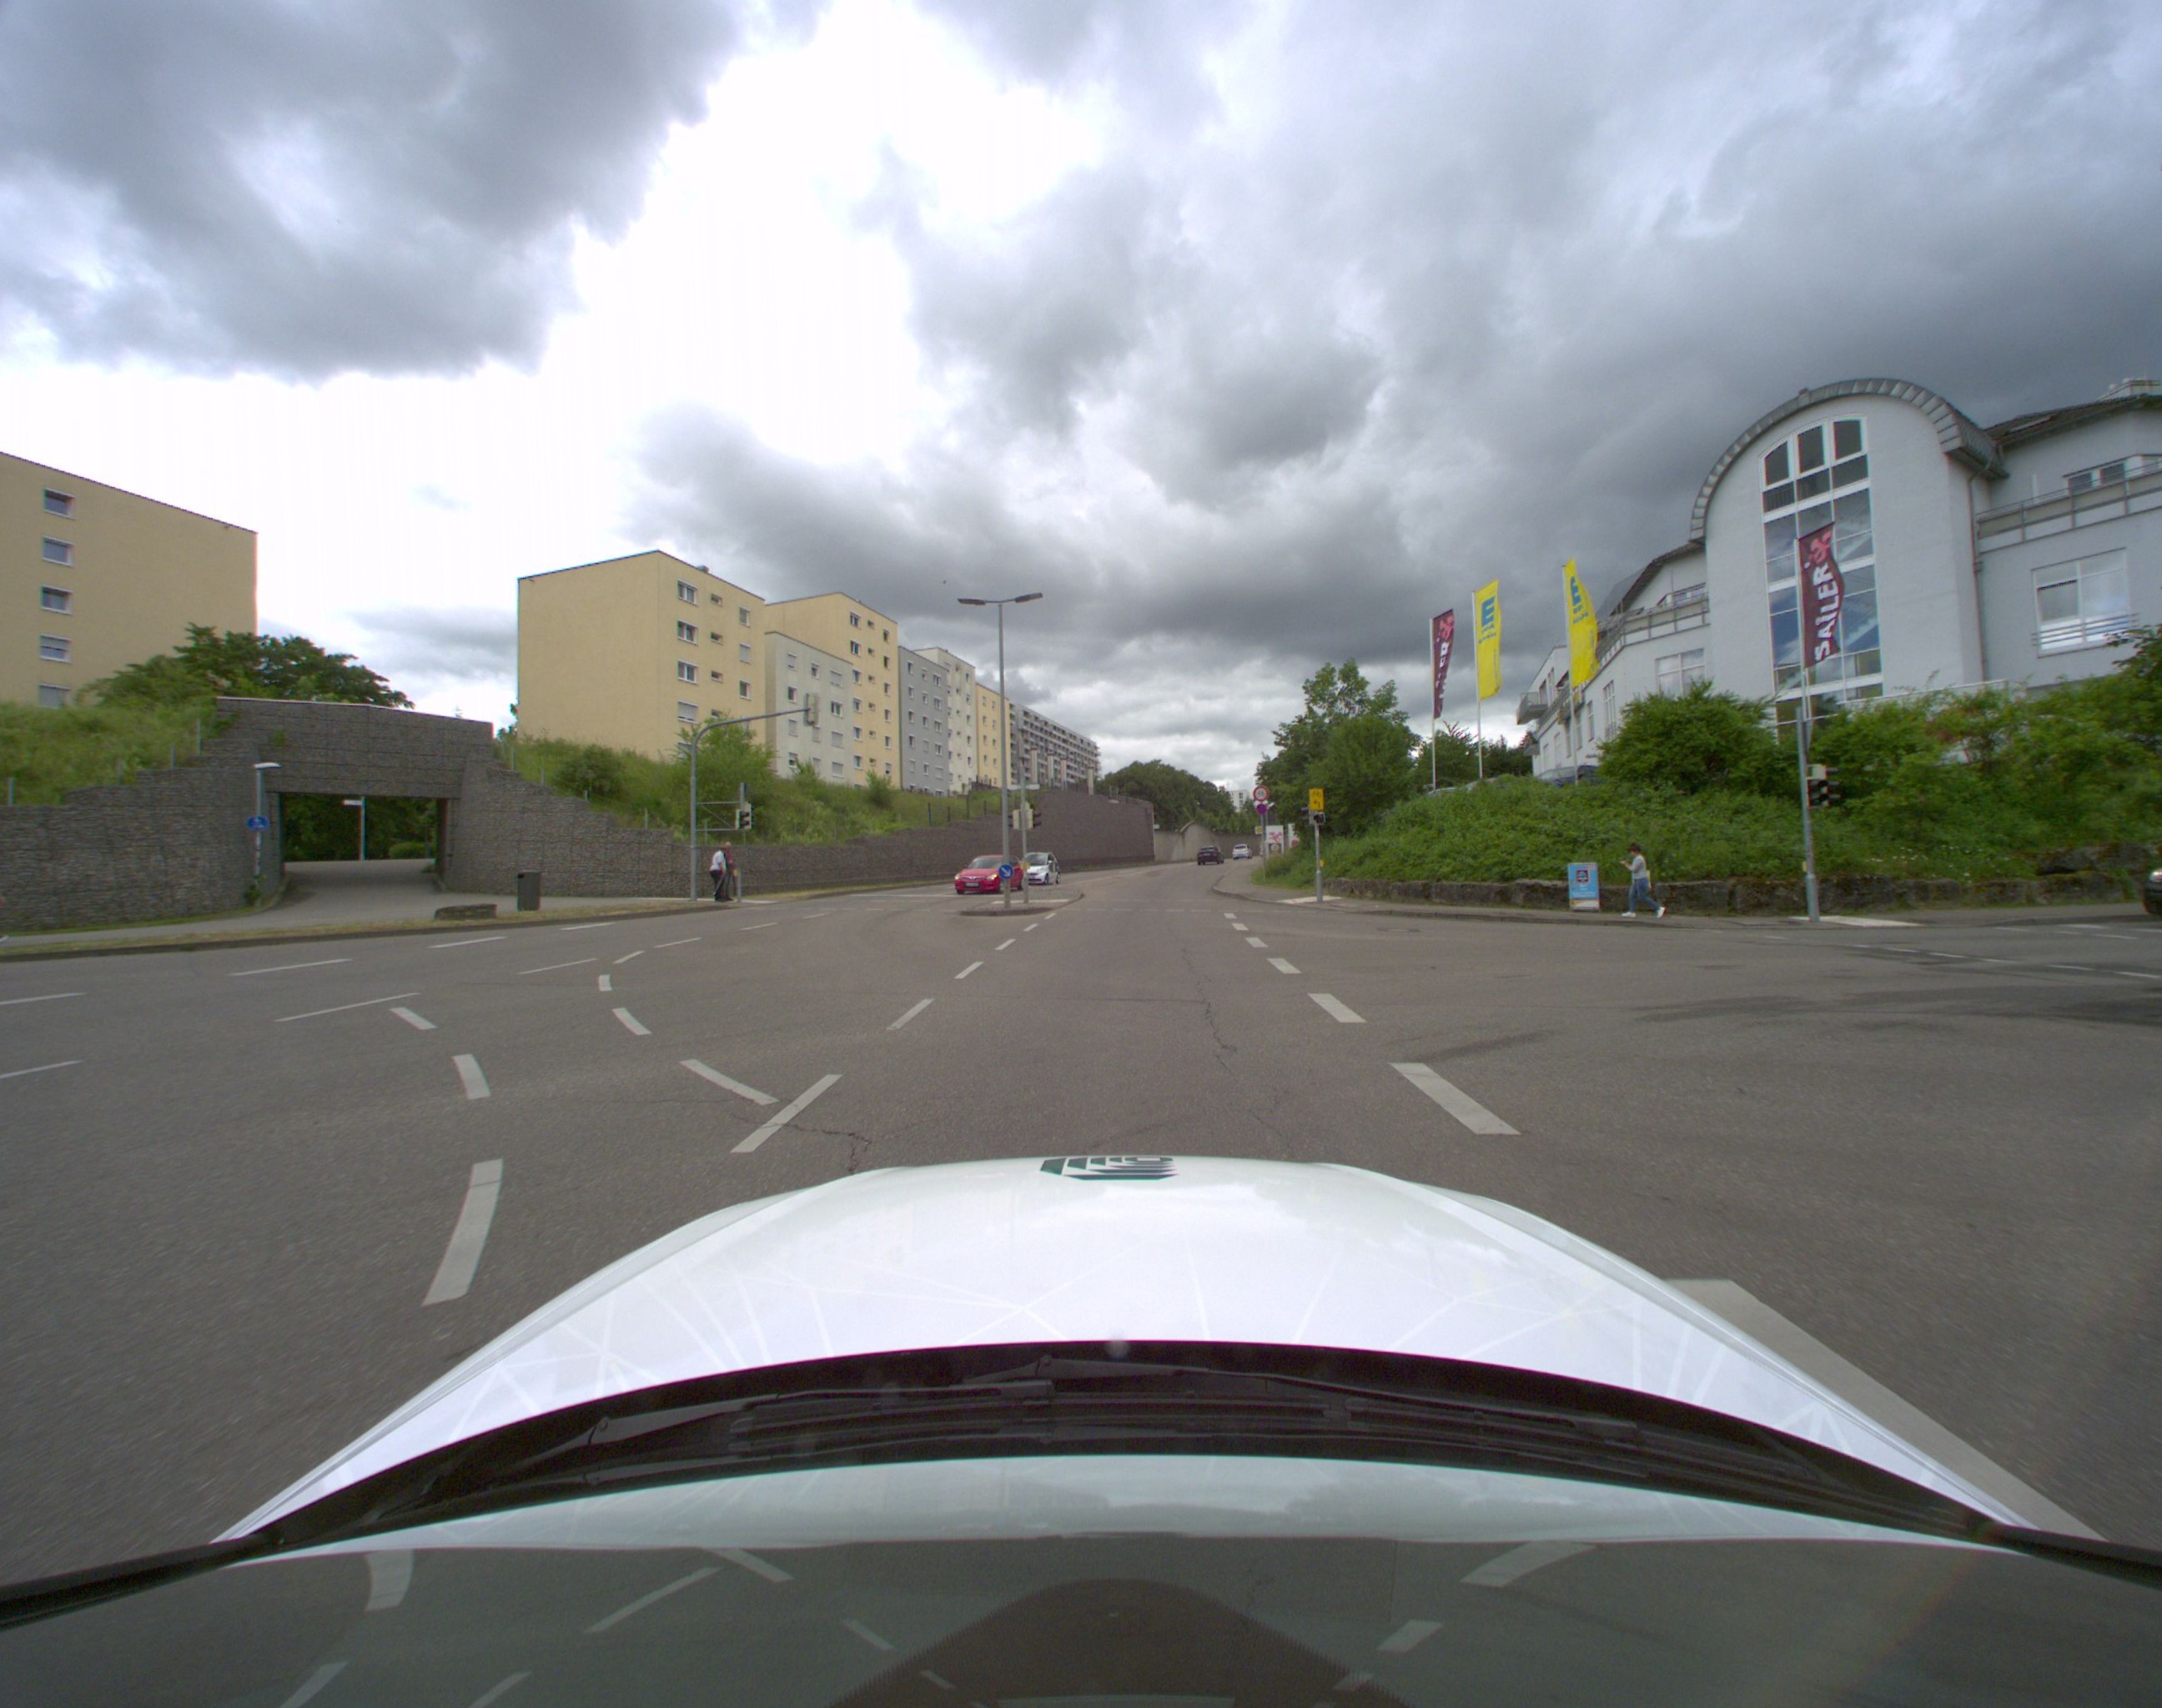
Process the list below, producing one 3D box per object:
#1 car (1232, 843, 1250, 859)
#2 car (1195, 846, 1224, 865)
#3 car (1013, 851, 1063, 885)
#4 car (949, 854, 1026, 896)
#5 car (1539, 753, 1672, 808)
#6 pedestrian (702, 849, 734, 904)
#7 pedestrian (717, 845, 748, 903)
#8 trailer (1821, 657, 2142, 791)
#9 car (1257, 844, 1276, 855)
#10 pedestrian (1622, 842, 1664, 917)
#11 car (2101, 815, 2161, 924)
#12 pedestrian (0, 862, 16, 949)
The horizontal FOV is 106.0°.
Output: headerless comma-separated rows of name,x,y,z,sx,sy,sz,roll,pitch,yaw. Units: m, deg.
car,16.196,-0.246,82.448,1.743,1.523,4.048,0,-1,10
car,10.375,0.144,65.460,1.740,1.523,4.054,-1,-1,17
car,-2.024,0.653,38.637,1.532,1.523,2.925,-1,-1,15
car,-3.581,0.791,31.939,1.742,1.523,4.107,0,-1,13
car,19.004,-2.610,29.501,4.516,1.638,1.817,0,-1,-23
pedestrian,-11.236,0.700,25.228,0.619,1.679,0.667,0,-1,7
pedestrian,-11.118,0.643,25.996,0.618,1.827,0.668,0,-1,12
trailer,27.967,-3.817,25.670,2.479,3.055,6.428,0,-1,-32
car,24.920,-0.592,109.241,1.851,1.490,4.279,-1,0,20
pedestrian,12.252,0.554,17.771,0.617,1.608,0.583,-1,-1,20
car,20.126,0.143,13.166,4.691,1.800,1.952,-3,-1,1
pedestrian,-19.621,0.920,14.529,0.573,1.558,0.628,-1,-1,27
